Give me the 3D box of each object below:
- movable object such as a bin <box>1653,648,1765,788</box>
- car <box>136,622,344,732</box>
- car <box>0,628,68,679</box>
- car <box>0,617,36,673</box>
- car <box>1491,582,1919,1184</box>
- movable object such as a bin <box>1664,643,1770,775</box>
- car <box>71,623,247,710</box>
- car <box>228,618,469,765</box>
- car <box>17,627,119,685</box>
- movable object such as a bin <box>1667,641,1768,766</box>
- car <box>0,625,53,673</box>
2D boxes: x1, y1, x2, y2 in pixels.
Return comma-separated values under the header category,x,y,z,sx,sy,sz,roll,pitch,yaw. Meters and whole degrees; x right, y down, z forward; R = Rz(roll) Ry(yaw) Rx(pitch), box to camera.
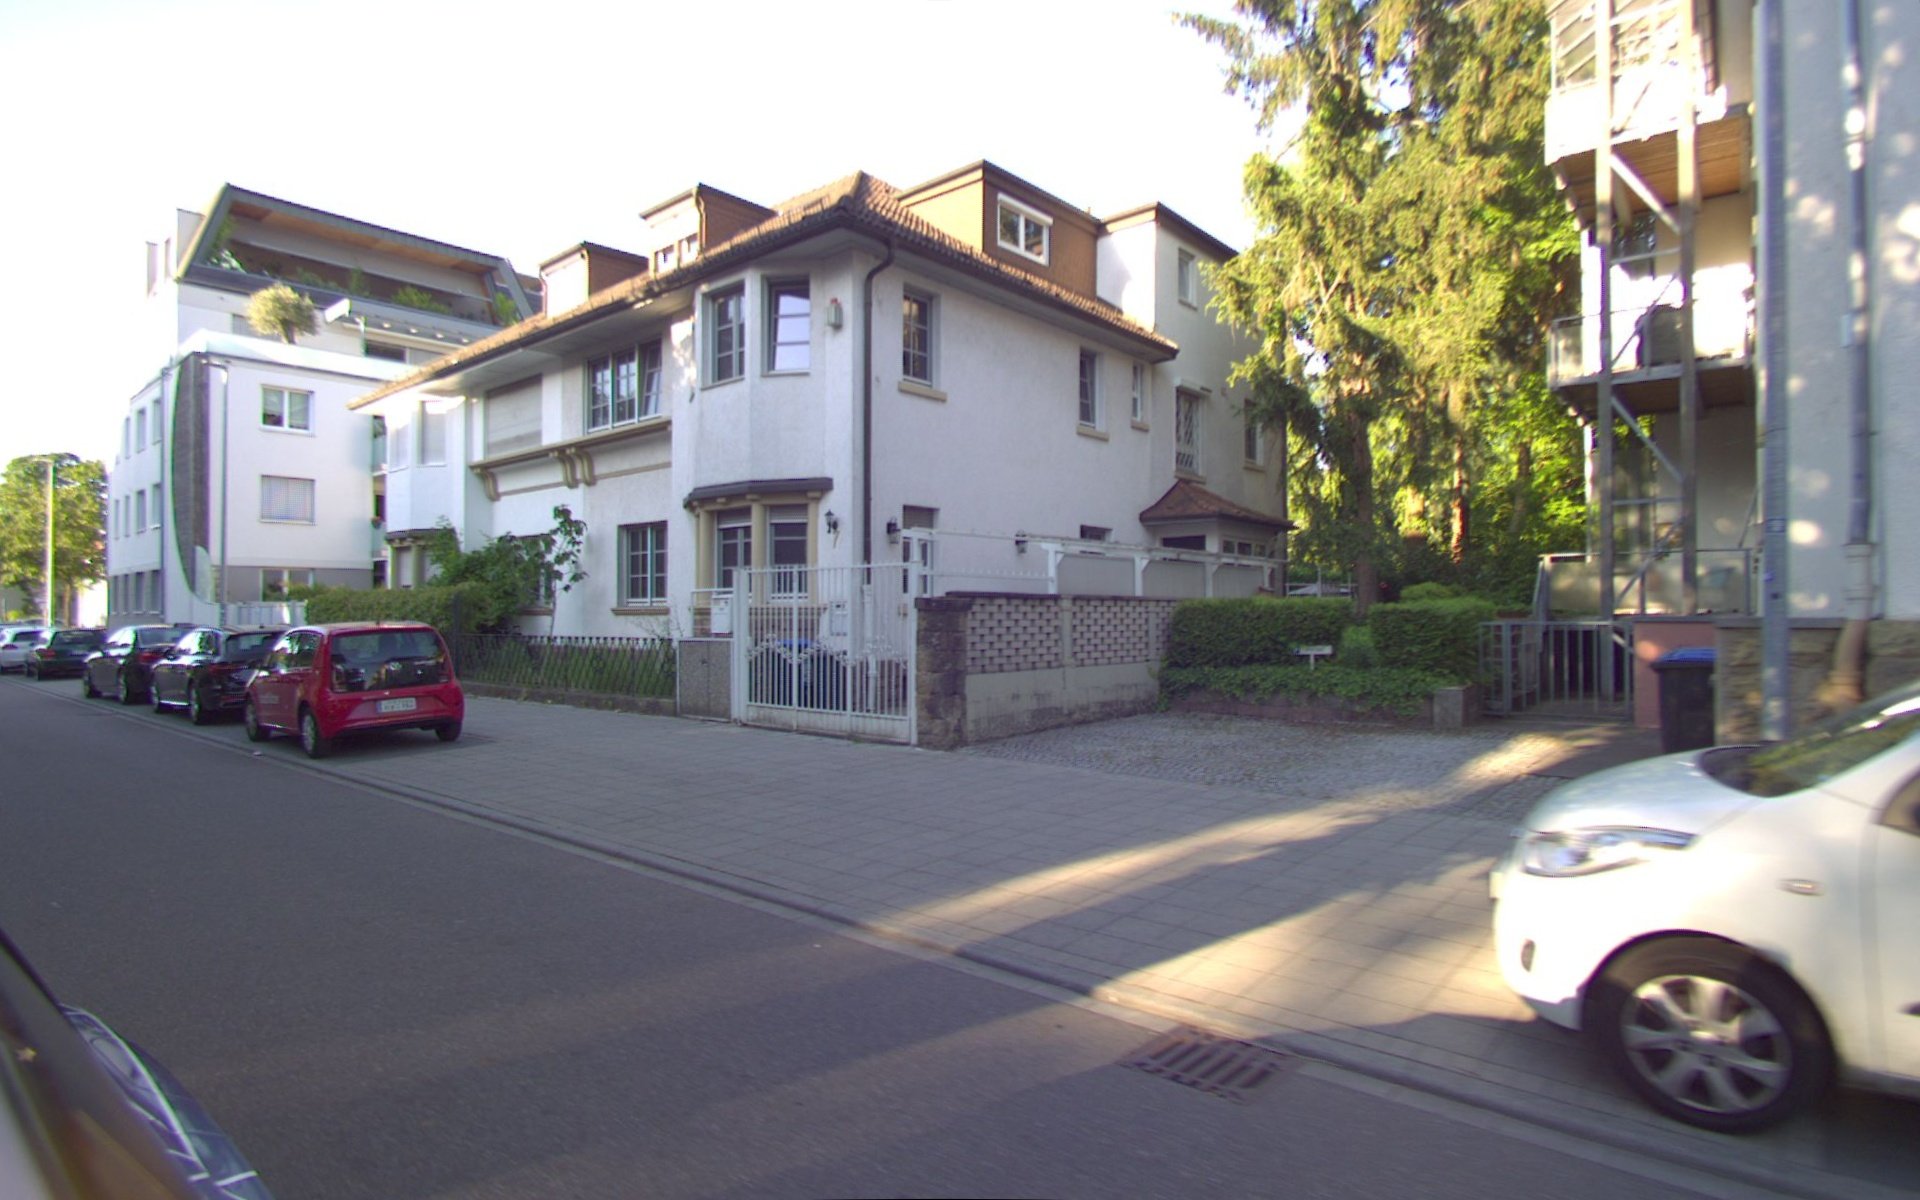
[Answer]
category,x,y,z,sx,sy,sz,roll,pitch,yaw
movable object such as a bin,6.168,0.944,8.331,0.664,1.056,0.577,-2,0,42
car,-11.568,1.120,16.140,4.376,1.470,1.720,-1,0,41
car,-28.876,1.610,31.155,3.907,1.405,1.700,-2,0,42
car,-36.235,1.677,37.943,4.197,1.963,1.888,-1,0,42
car,3.607,0.695,2.618,3.703,1.532,1.565,-1,0,40
movable object such as a bin,6.581,0.919,8.796,0.664,1.056,0.577,-2,0,42
car,-15.872,1.233,19.965,4.559,1.470,1.722,-1,0,38
car,-7.609,1.009,12.477,3.428,1.494,1.633,-1,0,43
car,-24.629,1.492,27.901,3.907,1.405,1.700,-2,0,42
movable object such as a bin,6.948,0.922,9.283,0.664,1.056,0.577,-2,0,42
car,-32.538,1.654,34.735,3.907,1.509,1.700,-2,0,42
